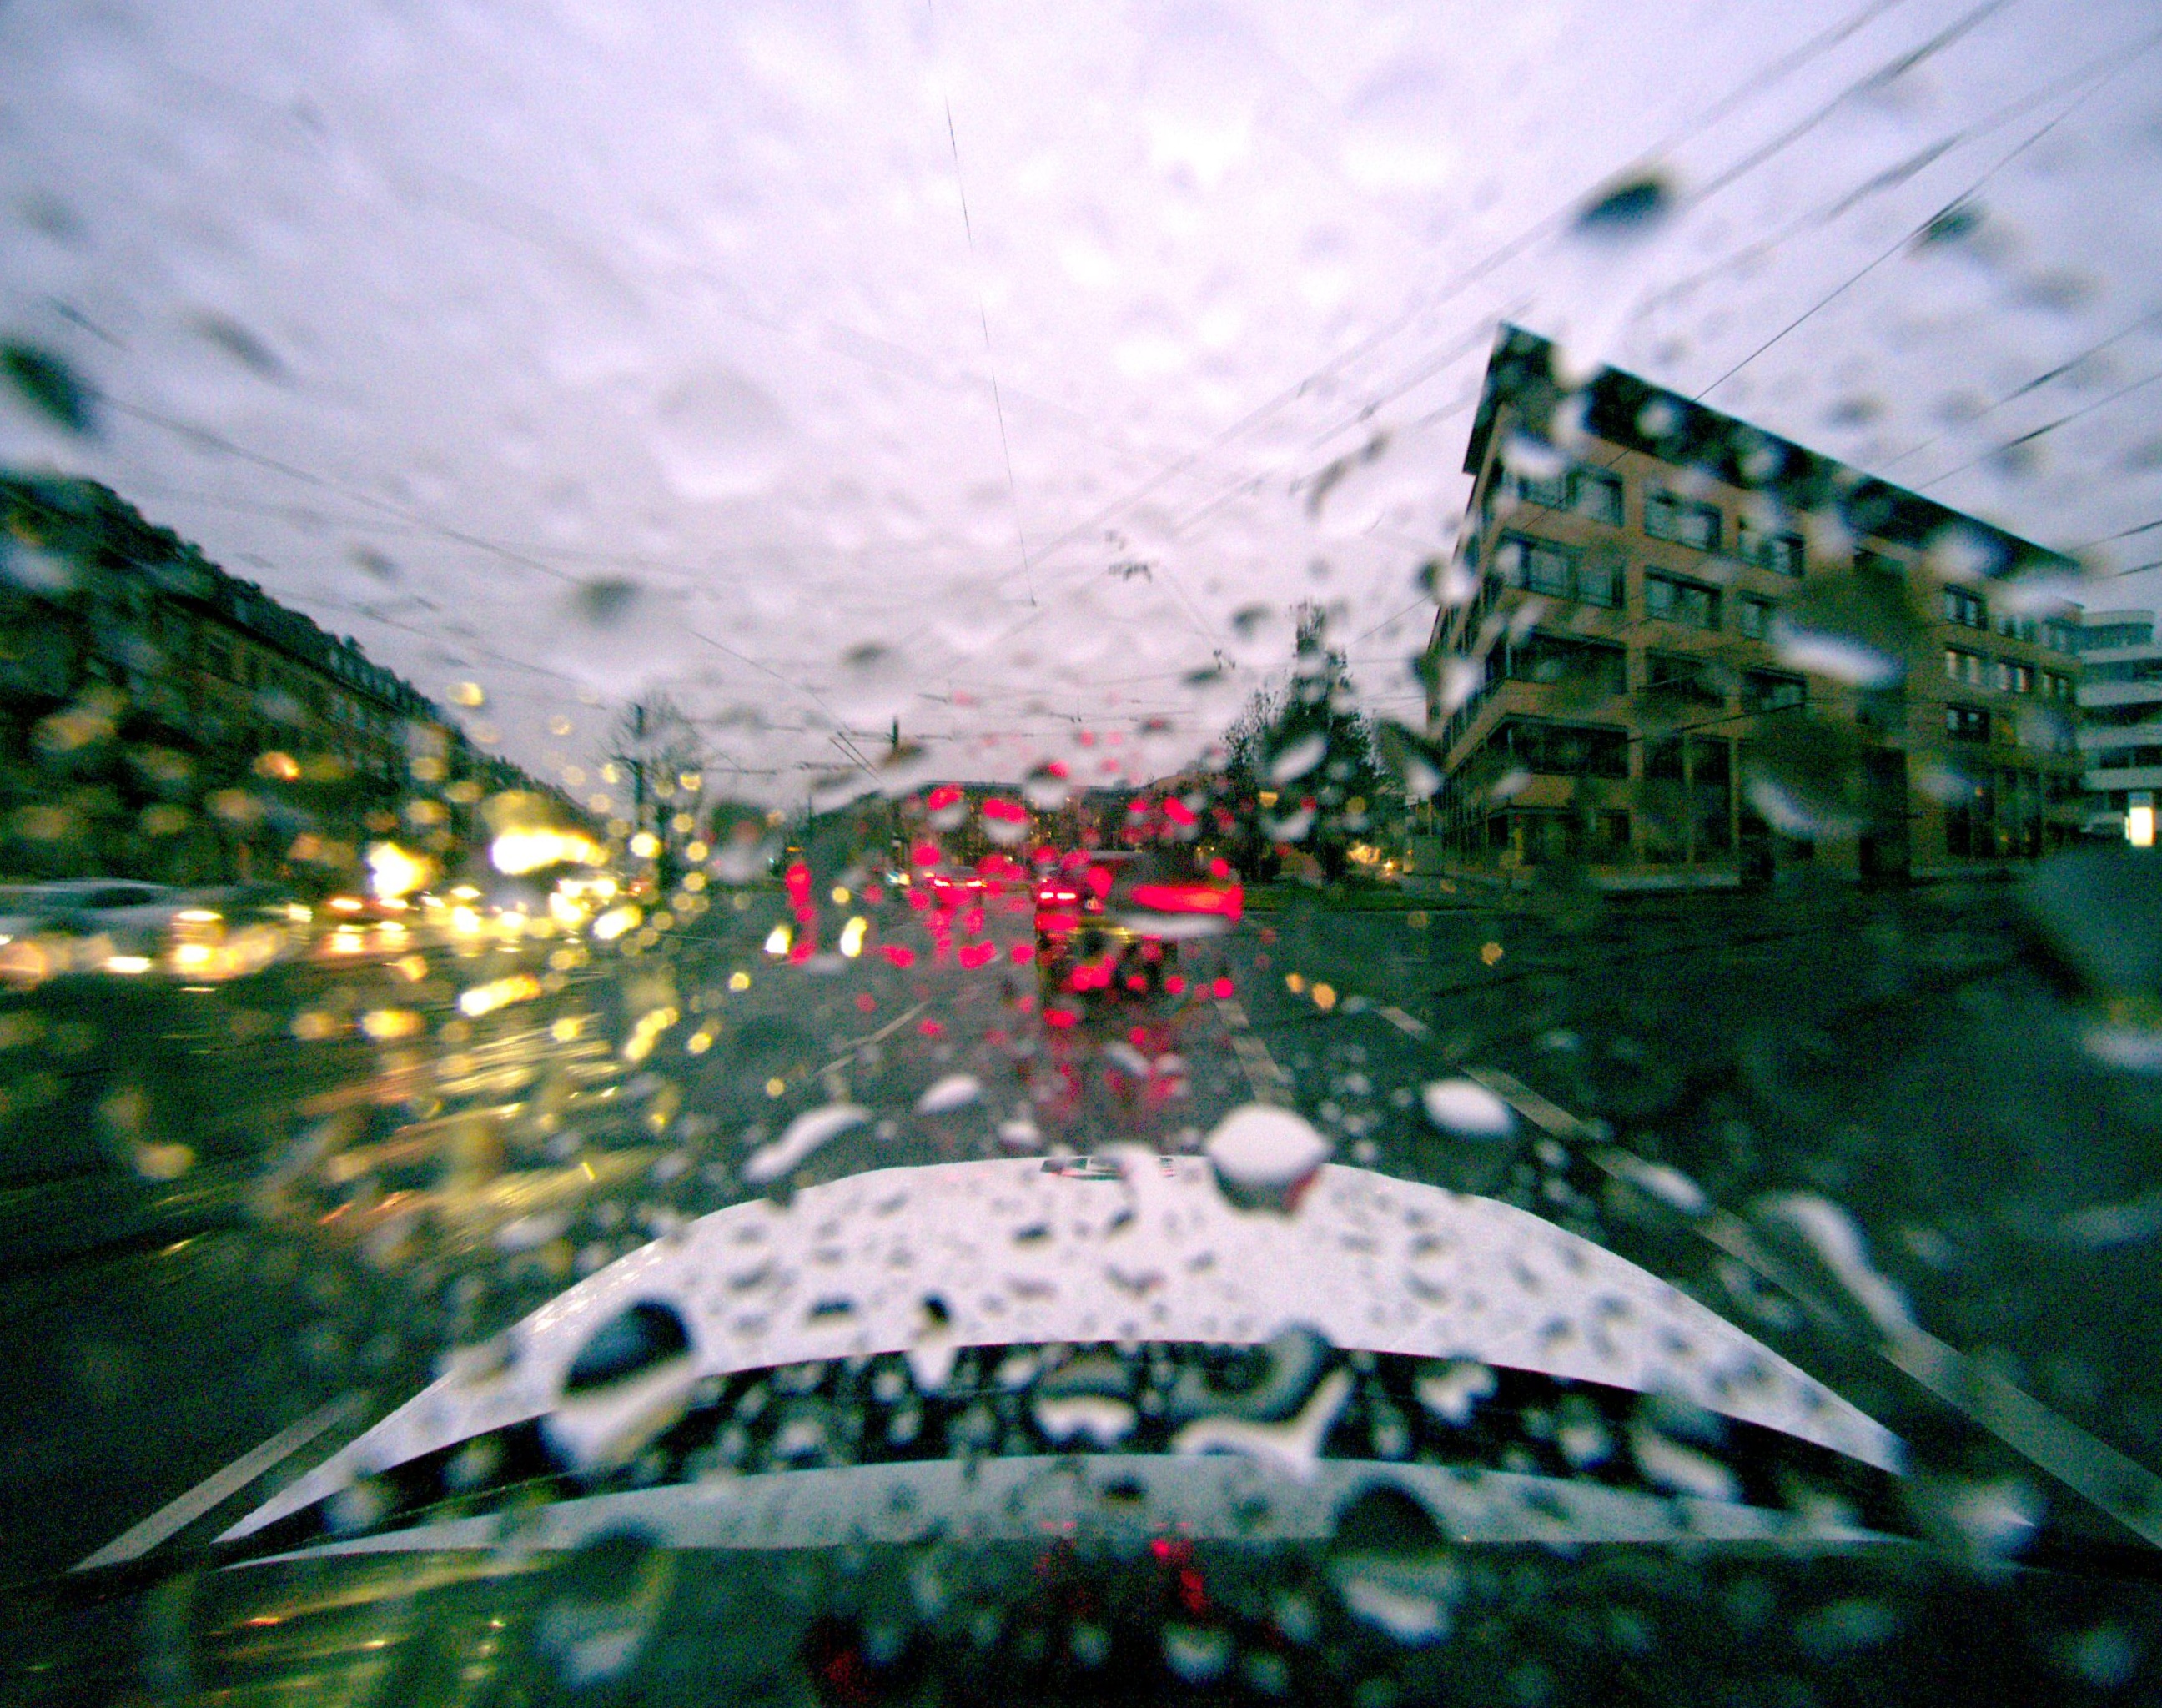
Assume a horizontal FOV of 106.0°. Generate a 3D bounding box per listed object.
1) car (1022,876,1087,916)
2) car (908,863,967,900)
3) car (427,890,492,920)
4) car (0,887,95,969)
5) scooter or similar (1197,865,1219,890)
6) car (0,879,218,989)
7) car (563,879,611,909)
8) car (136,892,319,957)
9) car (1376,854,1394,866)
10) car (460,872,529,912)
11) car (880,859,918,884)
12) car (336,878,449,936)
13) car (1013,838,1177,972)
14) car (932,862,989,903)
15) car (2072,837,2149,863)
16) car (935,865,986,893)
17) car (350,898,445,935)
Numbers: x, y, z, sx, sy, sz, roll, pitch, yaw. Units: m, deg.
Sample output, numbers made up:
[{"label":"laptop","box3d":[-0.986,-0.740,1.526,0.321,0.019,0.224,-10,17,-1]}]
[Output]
[{"label":"car","box3d":[-1.178,1.686,33.554,1.995,1.408,3.983,-1,0,-12]},{"label":"car","box3d":[-7.495,1.371,42.138,2.004,1.765,3.966,-1,0,-26]},{"label":"car","box3d":[-30.813,2.480,40.479,1.543,1.226,4.056,-1,0,-23]},{"label":"car","box3d":[-19.742,1.330,14.069,1.684,1.392,3.594,-1,-1,-16]},{"label":"scooter or similar","box3d":[6.613,1.214,42.258,1.151,1.232,0.482,-1,-1,-42]},{"label":"car","box3d":[-16.219,1.178,12.786,1.684,1.457,4.310,-1,-1,-16]},{"label":"car","box3d":[-23.558,1.865,38.935,1.544,1.245,4.052,-1,0,-26]},{"label":"car","box3d":[-22.407,1.774,21.622,1.687,1.354,4.355,-1,-1,-22]},{"label":"car","box3d":[30.793,0.577,82.479,1.653,1.181,3.726,-1,0,20]},{"label":"car","box3d":[-24.681,1.544,34.404,1.689,1.553,4.086,-1,-1,-26]},{"label":"car","box3d":[-12.834,1.222,57.387,2.001,1.618,3.971,-1,0,-22]},{"label":"car","box3d":[-20.086,1.500,23.893,1.492,1.487,3.132,-1,-1,-19]},{"label":"car","box3d":[0.254,0.640,12.060,1.983,1.616,4.002,-1,0,2]},{"label":"car","box3d":[-4.559,1.032,30.892,1.993,1.398,3.988,-1,0,-9]},{"label":"car","box3d":[60.724,-0.218,48.036,3.933,1.440,1.983,-1,0,-26]},{"label":"car","box3d":[-7.540,1.538,50.565,2.004,1.618,3.966,-1,0,-26]},{"label":"car","box3d":[-26.275,2.377,31.452,1.605,1.134,3.763,-1,-1,-20]}]
